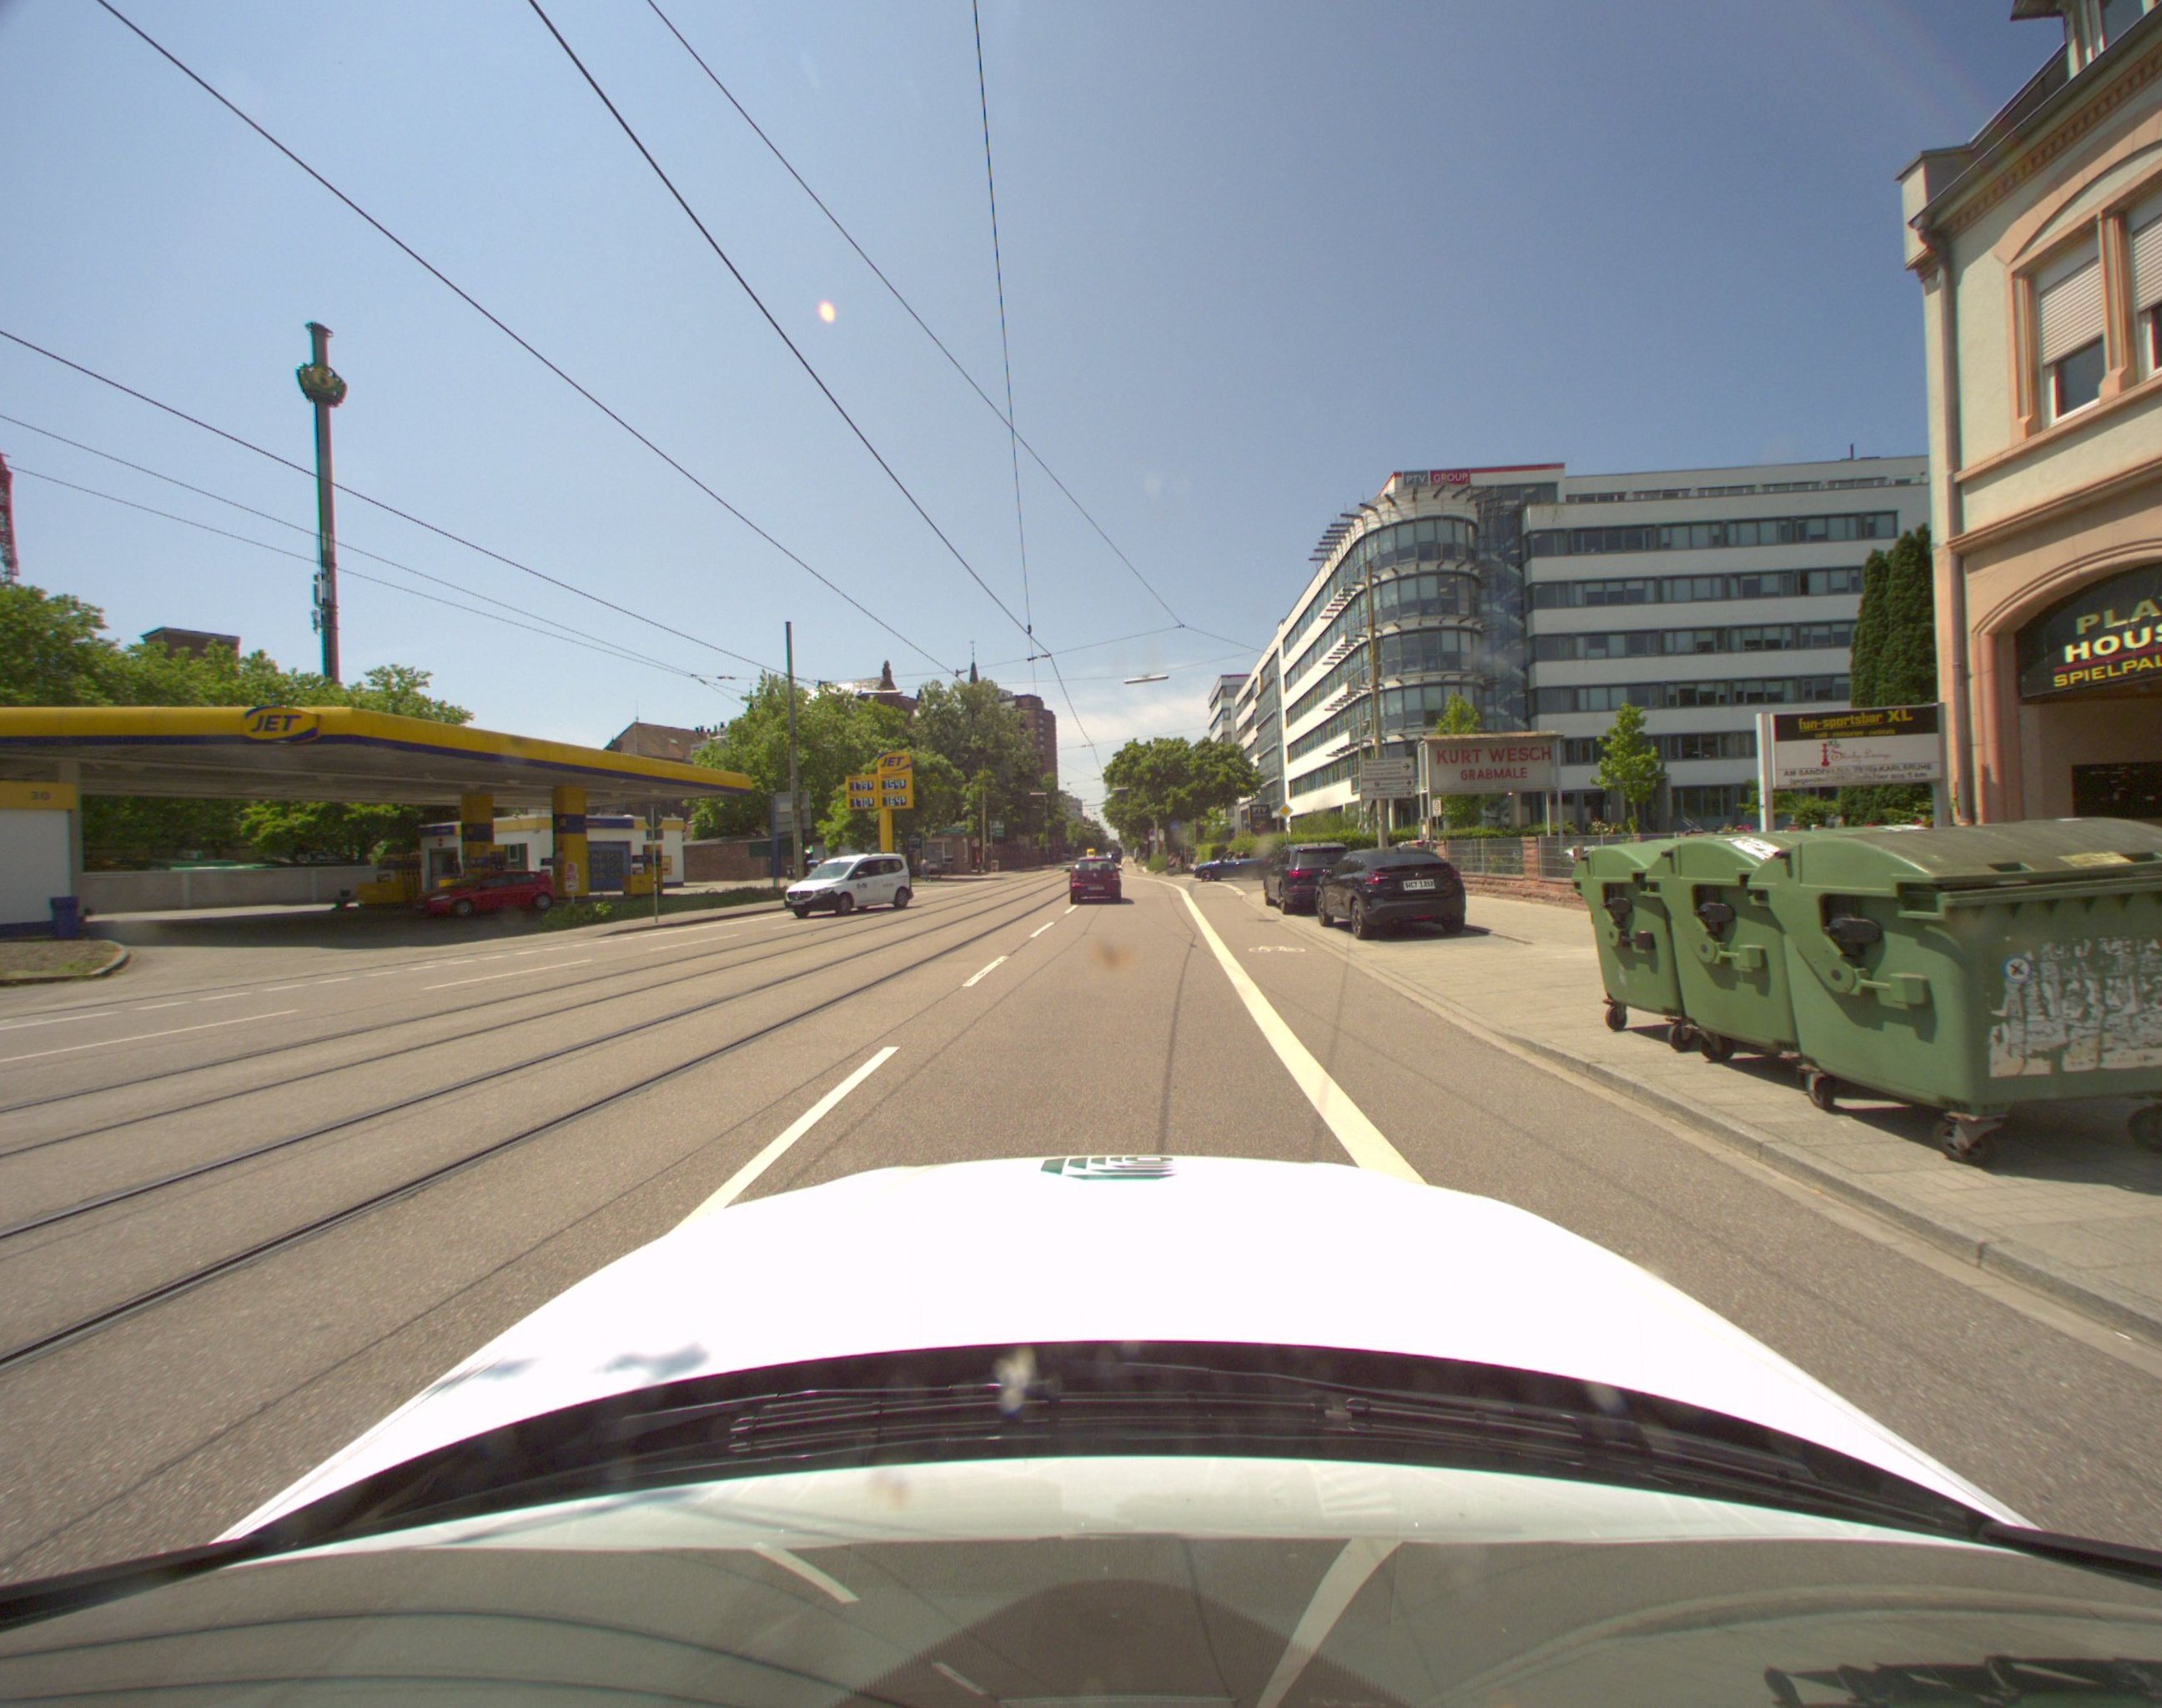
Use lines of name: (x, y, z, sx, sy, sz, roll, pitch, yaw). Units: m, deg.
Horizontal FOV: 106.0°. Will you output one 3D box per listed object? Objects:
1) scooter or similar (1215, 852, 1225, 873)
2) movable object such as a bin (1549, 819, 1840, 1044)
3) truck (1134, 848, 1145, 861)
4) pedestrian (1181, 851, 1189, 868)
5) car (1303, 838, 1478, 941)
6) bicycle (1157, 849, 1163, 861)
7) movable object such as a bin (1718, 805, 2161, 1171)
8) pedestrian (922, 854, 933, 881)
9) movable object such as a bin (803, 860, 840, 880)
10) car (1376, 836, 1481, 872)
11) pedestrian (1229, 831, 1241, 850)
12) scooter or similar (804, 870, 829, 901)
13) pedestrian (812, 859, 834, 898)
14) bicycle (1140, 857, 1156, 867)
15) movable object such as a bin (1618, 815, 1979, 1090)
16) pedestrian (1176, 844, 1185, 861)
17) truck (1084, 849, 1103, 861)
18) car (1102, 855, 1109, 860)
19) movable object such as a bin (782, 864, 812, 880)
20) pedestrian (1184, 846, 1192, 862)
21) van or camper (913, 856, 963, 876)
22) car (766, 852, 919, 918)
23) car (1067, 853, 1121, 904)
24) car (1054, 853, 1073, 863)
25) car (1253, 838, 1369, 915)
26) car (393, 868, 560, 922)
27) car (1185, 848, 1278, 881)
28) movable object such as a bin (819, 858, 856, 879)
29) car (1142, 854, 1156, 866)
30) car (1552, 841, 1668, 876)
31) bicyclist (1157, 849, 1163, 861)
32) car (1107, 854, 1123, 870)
scooter or similar: (8.245, 0.509, 48.320, 0.323, 1.222, 1.158, -1, 0, 24)
movable object such as a bin: (4.556, 0.536, 6.171, 1.319, 1.455, 1.058, -4, 0, 0)
truck: (11.607, 0.068, 161.971, 1.985, 2.662, 4.879, -1, 0, 3)
pedestrian: (11.303, 0.597, 88.762, 0.540, 1.715, 0.561, -3, -1, -26)
car: (5.601, 0.590, 15.381, 1.764, 1.548, 4.472, -4, -1, 4)
bicycle: (12.158, 0.199, 125.148, 0.686, 1.785, 1.814, -4, -1, 6)
movable object such as a bin: (4.318, 0.554, 4.007, 1.387, 1.455, 1.139, -4, 0, 0)
pedestrian: (-10.140, 0.903, 53.703, 0.578, 1.775, 0.699, -1, 0, 0)
movable object such as a bin: (-19.166, 1.169, 60.108, 1.507, 1.432, 2.112, -1, 0, 28)
car: (16.038, 0.020, 37.766, 4.126, 1.459, 1.821, -2, 0, 6)
pedestrian: (14.748, -1.318, 78.000, 0.866, 1.715, 1.095, -4, -1, 20)
scooter or similar: (-10.856, 1.270, 33.449, 0.517, 1.200, 1.377, -1, 0, 1)
pedestrian: (-11.618, 1.085, 36.677, 0.620, 1.691, 0.725, -2, 0, 14)
bicycle: (8.251, 0.948, 99.669, 1.876, 1.182, 0.695, -3, -1, 3)
movable object such as a bin: (4.385, 0.553, 5.108, 1.243, 1.455, 1.058, -4, 0, 0)
pedestrian: (10.962, -0.138, 89.690, 0.681, 1.796, 0.668, -3, -1, -28)
truck: (3.002, 0.225, 197.370, 2.350, 2.787, 7.355, -2, 0, 19)
car: (7.301, 1.086, 242.243, 1.763, 1.516, 4.004, -2, 0, 3)
movable object such as a bin: (-21.196, 1.334, 60.817, 1.391, 1.138, 1.574, -1, 0, 27)
pedestrian: (11.742, -0.038, 89.344, 0.540, 1.715, 0.561, -3, -1, -26)
van or camper: (-12.177, 1.016, 69.486, 3.768, 1.629, 1.873, -1, 1, 3)
car: (-7.261, 0.883, 25.340, 1.975, 1.799, 4.579, -2, 0, 25)
car: (0.463, 0.745, 26.687, 1.613, 1.486, 4.002, -1, 0, 2)
car: (-4.006, 0.874, 185.975, 3.965, 2.013, 2.004, -2, 0, 7)
car: (5.912, 0.522, 21.594, 1.915, 1.693, 5.088, -4, 0, 5)
car: (-20.707, 1.332, 28.110, 1.809, 1.504, 4.224, 0, 2, 26)
car: (7.085, 0.480, 38.363, 3.877, 1.372, 1.714, -3, -1, 27)
movable object such as a bin: (-17.709, 1.052, 59.352, 1.507, 1.509, 2.112, -1, 0, 28)
car: (9.371, 0.777, 112.216, 1.681, 1.503, 3.630, -4, 0, 3)
car: (24.323, 0.207, 37.547, 4.133, 1.409, 1.768, -2, 0, 1)
bicyclist: (12.162, 0.181, 125.146, 0.693, 1.799, 0.889, -4, -1, 6)
car: (4.528, 1.094, 109.023, 1.986, 2.013, 4.001, -1, 0, 1)
